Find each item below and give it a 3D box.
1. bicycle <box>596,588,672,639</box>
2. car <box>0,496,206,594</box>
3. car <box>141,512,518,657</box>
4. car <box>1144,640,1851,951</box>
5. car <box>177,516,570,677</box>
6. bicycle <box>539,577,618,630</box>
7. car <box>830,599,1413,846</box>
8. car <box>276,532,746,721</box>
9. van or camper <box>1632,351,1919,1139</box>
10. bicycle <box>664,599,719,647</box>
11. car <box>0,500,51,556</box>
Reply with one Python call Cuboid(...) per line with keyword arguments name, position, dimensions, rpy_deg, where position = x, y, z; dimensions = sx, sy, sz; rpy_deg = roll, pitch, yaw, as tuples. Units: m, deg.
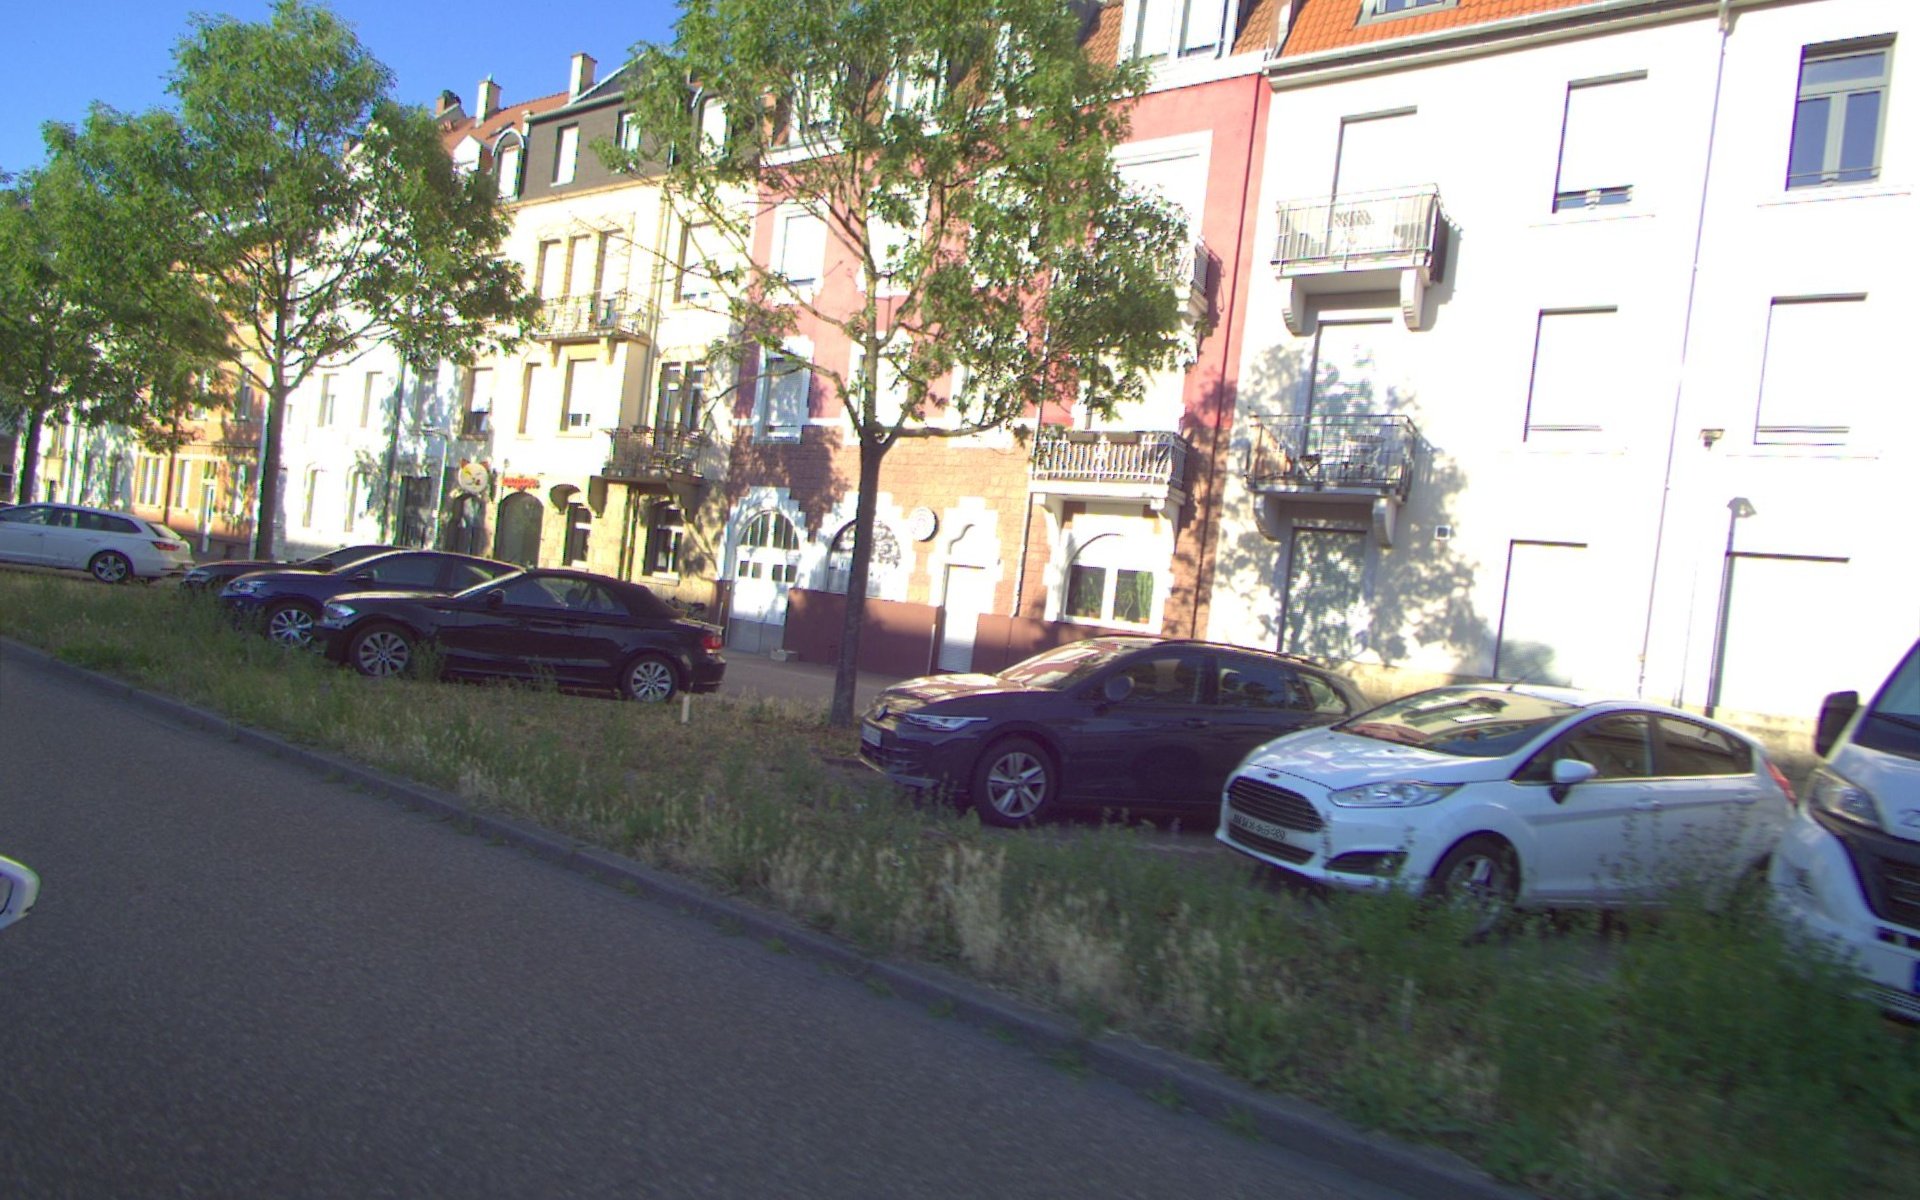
Cuboid(name="bicycle", position=(-7.799, 0.319, 24.032), dimensions=(1.896, 1.003, 0.579), rpy_deg=(7, 0, 33))
Cuboid(name="car", position=(-18.289, -1.183, 20.210), dimensions=(4.584, 1.528, 1.838), rpy_deg=(7, -1, -22))
Cuboid(name="car", position=(-9.144, -0.190, 15.095), dimensions=(4.377, 1.433, 1.876), rpy_deg=(8, -1, -21))
Cuboid(name="car", position=(3.399, 1.231, 6.499), dimensions=(3.867, 1.420, 1.788), rpy_deg=(7, -1, -19))
Cuboid(name="car", position=(-7.342, 0.011, 12.985), dimensions=(4.009, 1.453, 1.715), rpy_deg=(8, -2, -29))
Cuboid(name="bicycle", position=(-9.549, 0.070, 25.158), dimensions=(2.191, 1.093, 0.588), rpy_deg=(7, 2, 33))
Cuboid(name="car", position=(1.269, 0.978, 8.135), dimensions=(4.216, 1.420, 1.788), rpy_deg=(7, -1, -20))
Cuboid(name="car", position=(-4.894, 0.333, 11.433), dimensions=(4.383, 1.440, 1.911), rpy_deg=(9, -1, -26))
Cuboid(name="van or camper", position=(6.079, 0.825, 4.680), dimensions=(5.582, 2.846, 2.190), rpy_deg=(7, 0, -26))
Cuboid(name="bicycle", position=(-6.193, 0.529, 23.197), dimensions=(1.198, 0.973, 0.418), rpy_deg=(7, 0, 33))
Cuboid(name="car", position=(-26.418, -2.100, 25.499), dimensions=(4.525, 1.364, 1.885), rpy_deg=(7, -1, -25))
